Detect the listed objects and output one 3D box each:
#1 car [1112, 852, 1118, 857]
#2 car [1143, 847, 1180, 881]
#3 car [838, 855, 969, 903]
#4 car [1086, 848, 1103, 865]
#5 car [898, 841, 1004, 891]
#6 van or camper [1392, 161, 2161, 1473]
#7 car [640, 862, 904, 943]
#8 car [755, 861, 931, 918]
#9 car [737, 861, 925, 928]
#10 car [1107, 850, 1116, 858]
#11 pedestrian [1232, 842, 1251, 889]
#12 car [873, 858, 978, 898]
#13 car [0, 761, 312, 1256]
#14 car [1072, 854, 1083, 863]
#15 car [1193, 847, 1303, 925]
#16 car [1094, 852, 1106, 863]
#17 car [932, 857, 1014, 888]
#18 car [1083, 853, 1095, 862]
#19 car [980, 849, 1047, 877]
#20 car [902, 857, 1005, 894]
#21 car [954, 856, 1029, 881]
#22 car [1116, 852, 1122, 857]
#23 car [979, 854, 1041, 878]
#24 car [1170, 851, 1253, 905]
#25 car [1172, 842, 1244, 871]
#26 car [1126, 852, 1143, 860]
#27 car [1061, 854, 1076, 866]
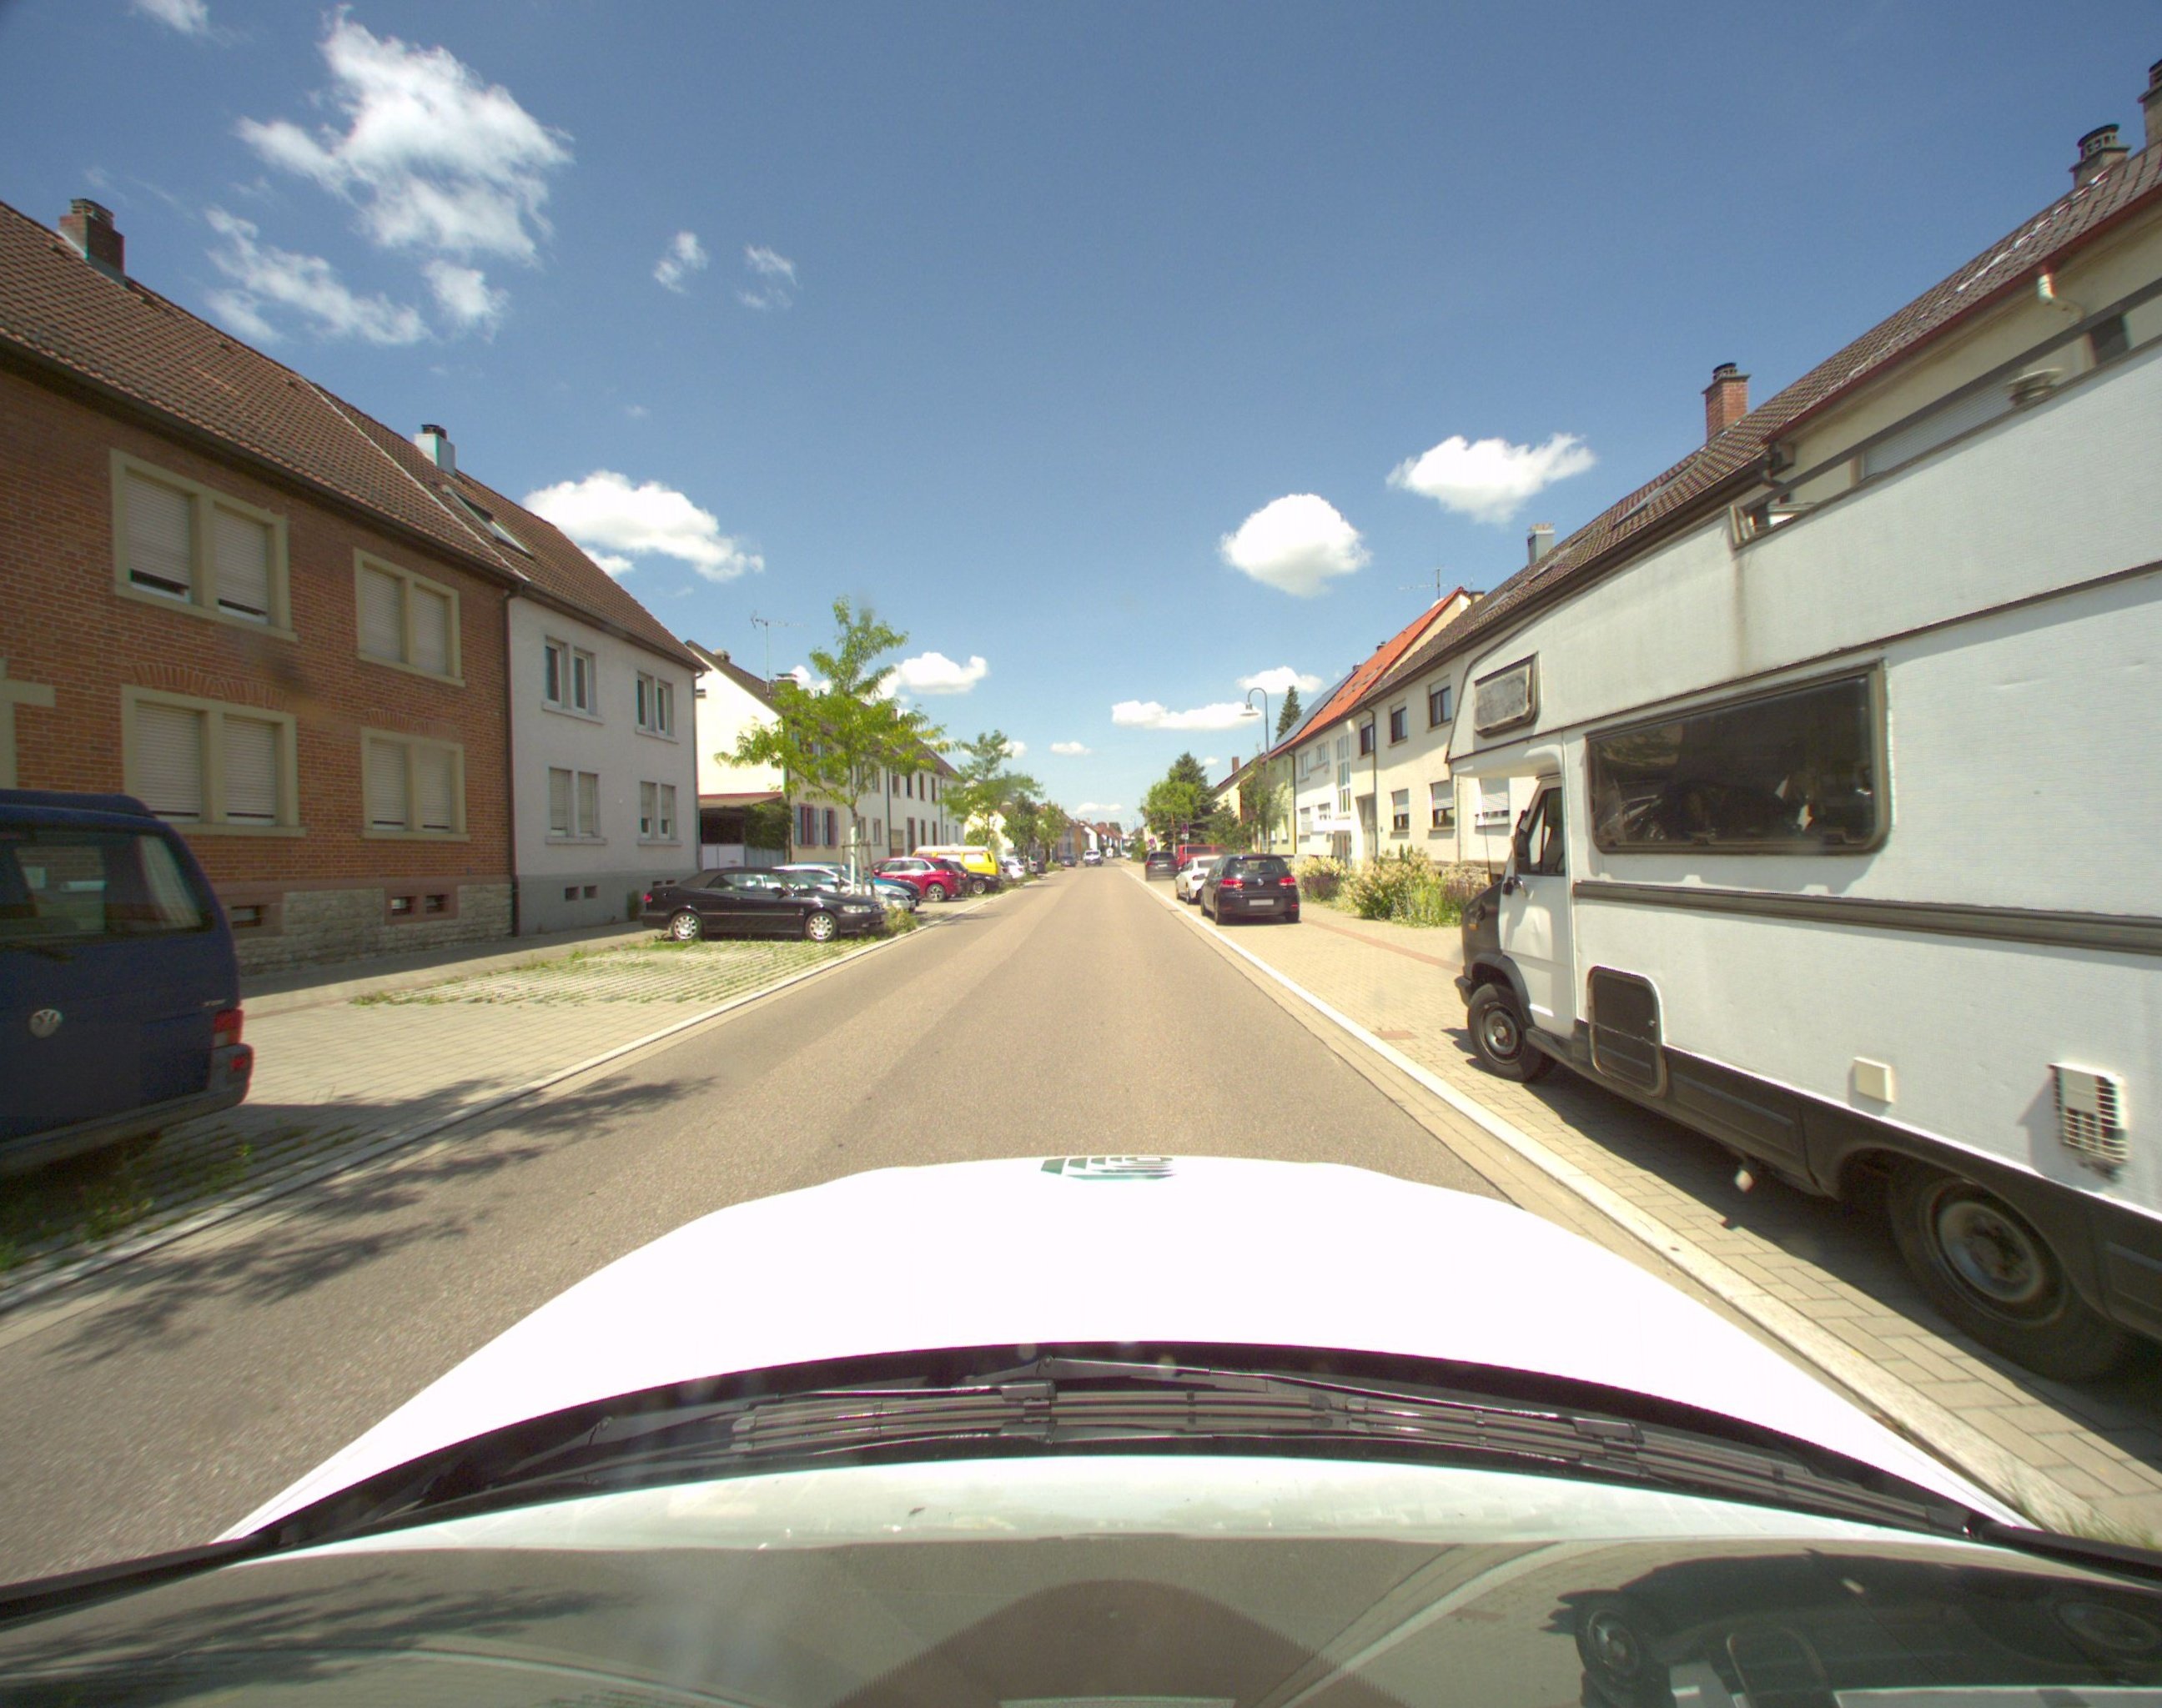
[{"bbox_3d":[10.313,0.124,245.033,1.683,1.504,3.777,0,-1,5],"label":"car"},{"bbox_3d":[4.462,0.517,45.572,1.856,1.635,4.451,-4,0,4],"label":"car"},{"bbox_3d":[-6.313,0.866,29.265,4.238,1.611,1.843,-1,0,0],"label":"car"},{"bbox_3d":[1.616,0.327,98.580,2.016,1.950,4.898,-2,-1,1],"label":"car"},{"bbox_3d":[-5.874,0.534,37.202,4.492,2.177,1.926,-1,0,1],"label":"car"},{"bbox_3d":[3.586,-0.109,3.269,2.464,2.810,5.792,-3,0,1],"label":"van or camper"},{"bbox_3d":[-5.985,0.917,16.143,4.508,1.425,1.796,-1,0,1],"label":"car"},{"bbox_3d":[-6.581,0.960,22.864,4.392,1.478,1.774,-1,0,-3],"label":"car"},{"bbox_3d":[-6.016,0.957,19.976,4.042,1.478,1.775,-1,0,-1],"label":"car"},{"bbox_3d":[8.389,0.035,223.206,2.035,2.312,3.777,0,-1,5],"label":"car"},{"bbox_3d":[6.103,0.437,31.014,0.555,1.749,0.673,-2,-1,2],"label":"pedestrian"},{"bbox_3d":[-6.070,0.908,32.034,3.780,1.459,1.754,-1,0,-2],"label":"car"},{"bbox_3d":[-6.646,0.654,3.666,4.593,1.996,1.954,-1,0,3],"label":"car"},{"bbox_3d":[-0.588,0.763,139.910,1.803,1.609,4.002,0,0,2],"label":"car"},{"bbox_3d":[3.623,0.641,18.355,1.760,1.529,4.009,-2,0,2],"label":"car"},{"bbox_3d":[2.903,0.578,123.365,1.757,1.523,4.049,-3,0,1],"label":"car"},{"bbox_3d":[-5.508,0.920,41.698,4.068,1.468,1.749,-1,0,-7],"label":"car"},{"bbox_3d":[1.543,0.643,153.250,1.841,1.659,4.005,0,0,4],"label":"car"},{"bbox_3d":[-4.888,0.653,59.255,4.683,1.923,1.938,0,-1,1],"label":"car"},{"bbox_3d":[-5.343,0.908,34.482,3.995,1.459,1.756,-1,0,1],"label":"car"},{"bbox_3d":[-5.432,0.883,49.715,4.277,1.468,1.775,-1,-1,3],"label":"car"},{"bbox_3d":[11.873,0.188,252.477,1.683,1.660,3.777,0,-1,5],"label":"car"},{"bbox_3d":[-4.880,0.837,56.589,4.172,1.569,1.772,0,-1,-2],"label":"car"},{"bbox_3d":[3.954,0.688,25.468,1.826,1.465,4.519,-2,0,0],"label":"car"},{"bbox_3d":[8.588,0.186,55.293,4.603,1.893,2.020,-1,-1,0],"label":"car"},{"bbox_3d":[11.011,0.425,168.903,3.510,1.464,1.629,0,-1,2],"label":"car"},{"bbox_3d":[-1.571,0.745,104.368,1.811,1.433,4.138,2,1,-1],"label":"car"}]
